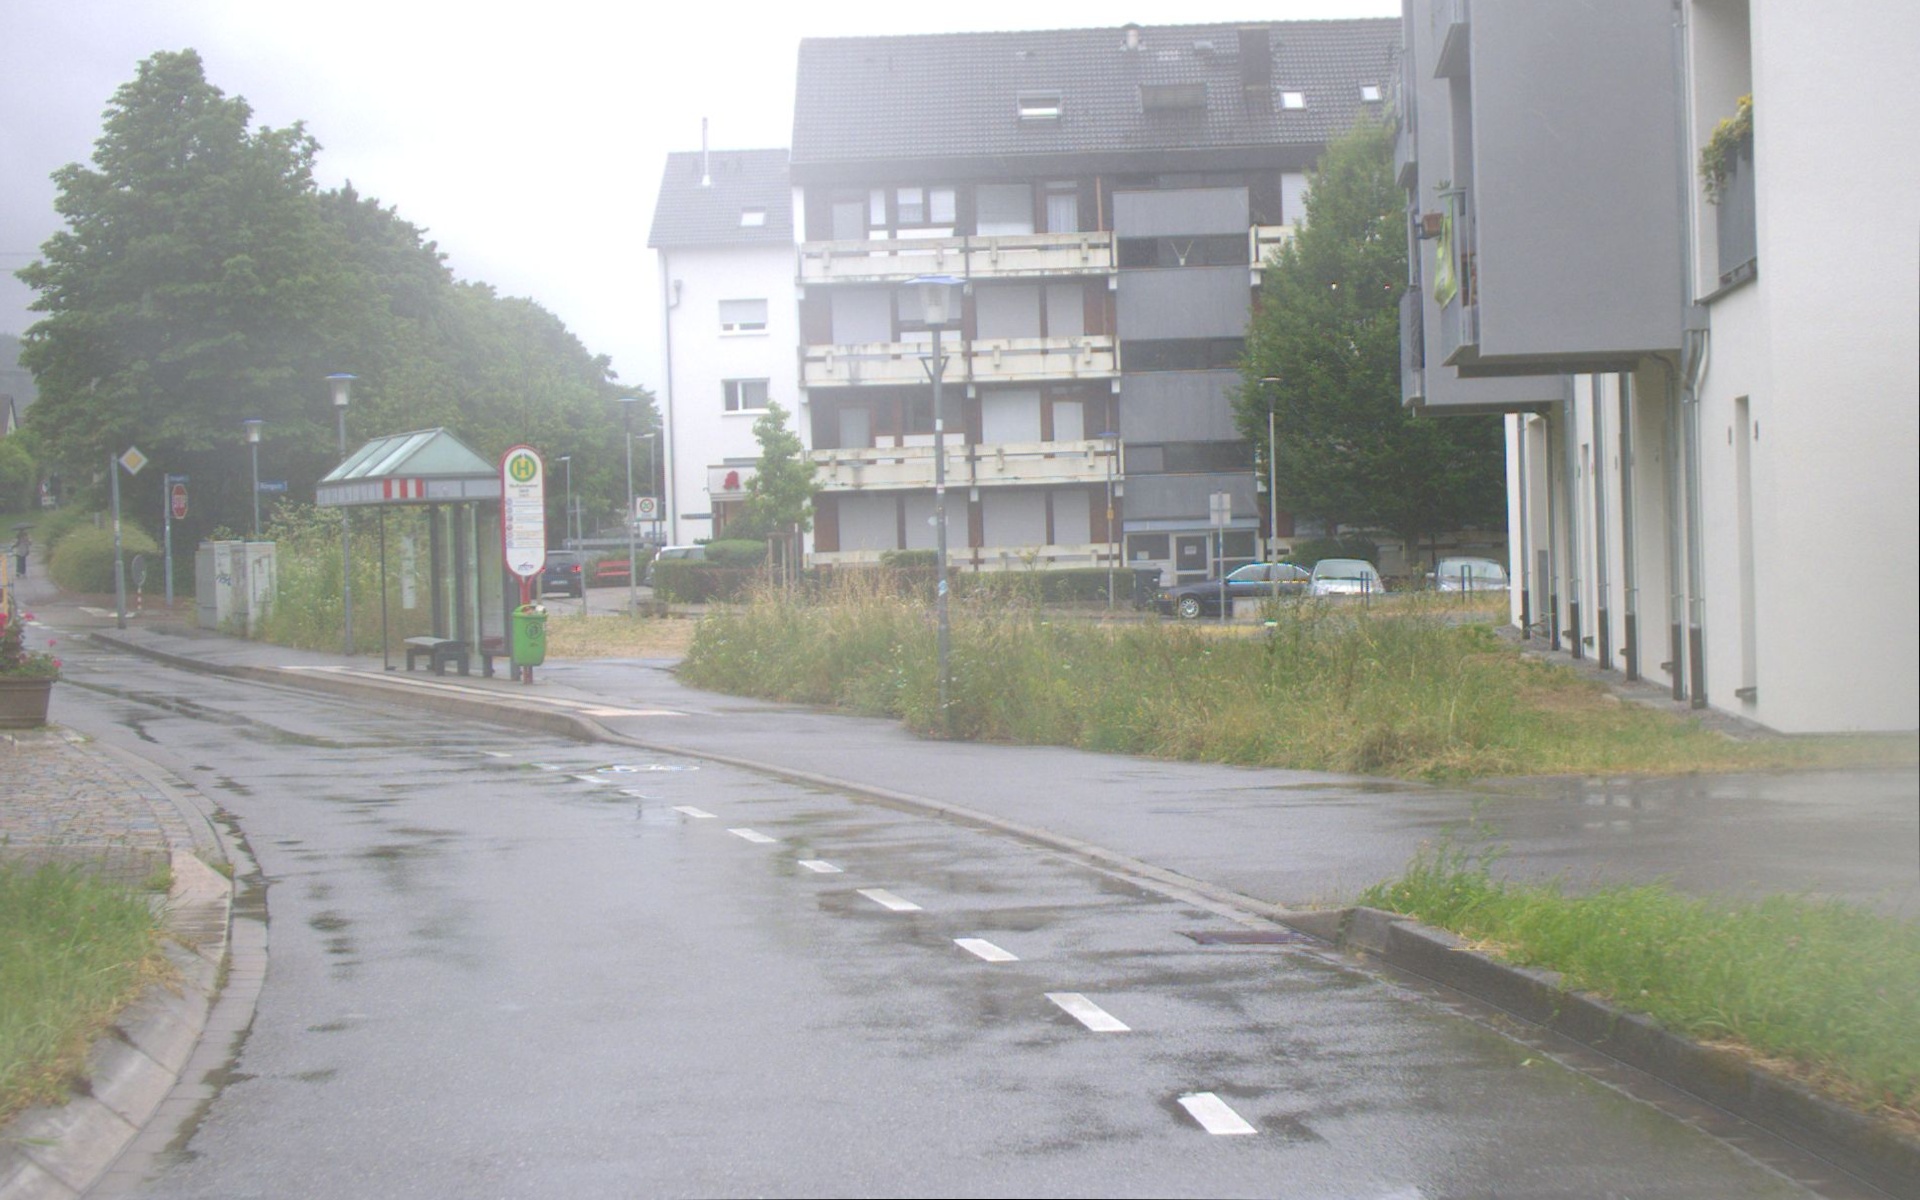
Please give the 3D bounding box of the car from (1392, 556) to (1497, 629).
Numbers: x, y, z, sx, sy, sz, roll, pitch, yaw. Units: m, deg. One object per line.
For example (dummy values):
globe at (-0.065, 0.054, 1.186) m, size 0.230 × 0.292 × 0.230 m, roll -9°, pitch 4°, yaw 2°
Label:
car at (10.175, -0.143, 72.428) m, size 1.716 × 1.436 × 3.706 m, roll -1°, pitch -1°, yaw 1°

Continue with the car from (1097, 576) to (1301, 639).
car at (5.524, 0.155, 79.859) m, size 4.600 × 1.383 × 1.947 m, roll 0°, pitch 1°, yaw 1°

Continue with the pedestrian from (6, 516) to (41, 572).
pedestrian at (-28.618, -1.716, 105.051) m, size 0.919 × 1.669 × 1.057 m, roll -3°, pitch 3°, yaw -16°

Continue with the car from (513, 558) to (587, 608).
car at (-12.820, -0.550, 107.406) m, size 1.688 × 1.433 × 3.613 m, roll -1°, pitch 2°, yaw -17°

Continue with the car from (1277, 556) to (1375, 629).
car at (7.712, -0.132, 72.738) m, size 1.716 × 1.436 × 3.706 m, roll -1°, pitch -1°, yaw 1°
